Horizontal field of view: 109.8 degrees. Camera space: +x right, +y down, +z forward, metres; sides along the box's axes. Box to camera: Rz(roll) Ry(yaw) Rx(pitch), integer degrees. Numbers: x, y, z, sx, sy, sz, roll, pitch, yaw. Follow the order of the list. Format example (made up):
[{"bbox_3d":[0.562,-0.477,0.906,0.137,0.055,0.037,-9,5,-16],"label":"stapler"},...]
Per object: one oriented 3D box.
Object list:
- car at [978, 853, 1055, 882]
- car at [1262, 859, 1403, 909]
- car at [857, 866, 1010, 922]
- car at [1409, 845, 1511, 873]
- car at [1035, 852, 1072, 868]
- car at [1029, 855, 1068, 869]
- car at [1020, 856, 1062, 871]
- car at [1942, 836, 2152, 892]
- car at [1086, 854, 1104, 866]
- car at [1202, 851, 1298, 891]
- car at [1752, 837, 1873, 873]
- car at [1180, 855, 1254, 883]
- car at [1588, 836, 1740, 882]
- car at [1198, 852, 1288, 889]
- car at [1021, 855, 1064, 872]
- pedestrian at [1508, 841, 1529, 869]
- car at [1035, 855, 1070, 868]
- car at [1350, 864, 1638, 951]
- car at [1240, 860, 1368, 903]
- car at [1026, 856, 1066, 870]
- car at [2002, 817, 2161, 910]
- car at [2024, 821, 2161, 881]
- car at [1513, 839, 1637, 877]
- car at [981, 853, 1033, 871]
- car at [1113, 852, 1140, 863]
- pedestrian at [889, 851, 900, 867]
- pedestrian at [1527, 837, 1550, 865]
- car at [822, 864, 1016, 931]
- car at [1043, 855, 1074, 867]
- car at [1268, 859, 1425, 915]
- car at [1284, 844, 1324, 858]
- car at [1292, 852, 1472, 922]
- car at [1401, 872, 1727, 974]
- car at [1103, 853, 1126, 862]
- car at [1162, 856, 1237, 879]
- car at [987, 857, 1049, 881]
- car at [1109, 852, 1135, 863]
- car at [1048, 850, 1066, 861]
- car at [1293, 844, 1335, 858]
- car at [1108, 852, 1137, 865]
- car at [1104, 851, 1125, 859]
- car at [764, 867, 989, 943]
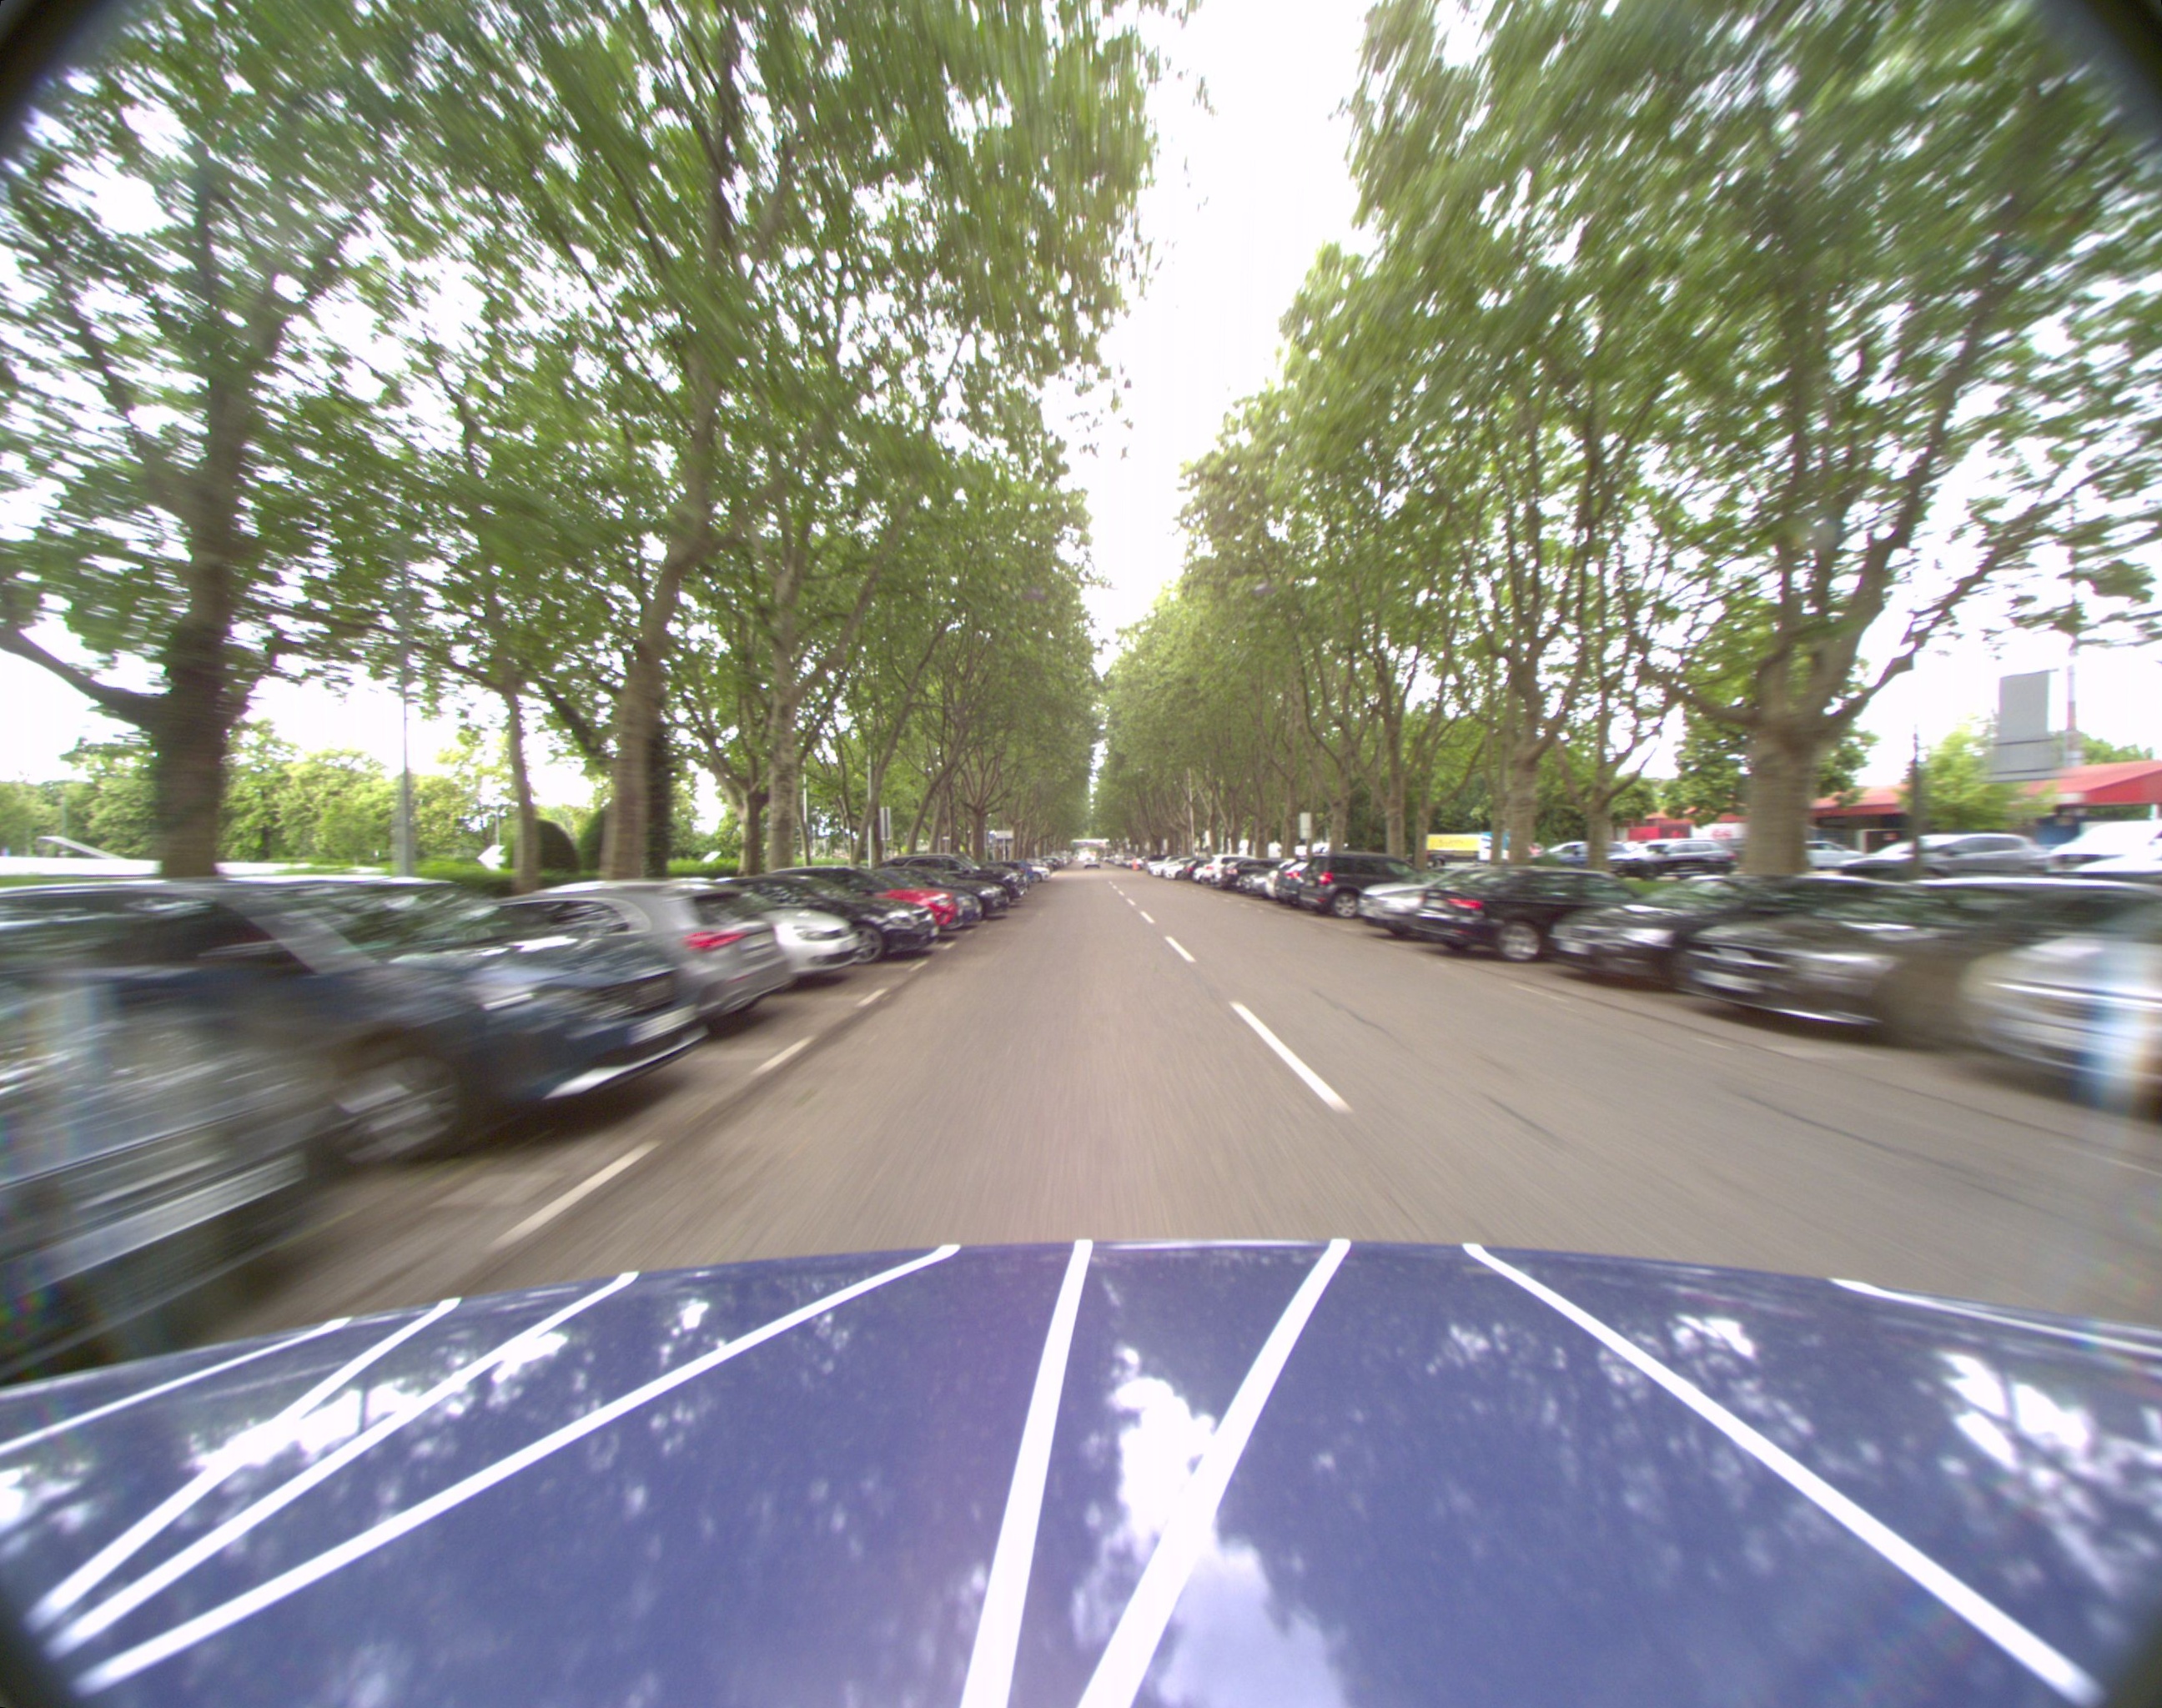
[{"bbox_3d":[-3.990,0.846,47.435,4.535,1.613,2.054,-2,0,1],"label":"car"},{"bbox_3d":[7.994,0.924,24.406,4.001,1.477,1.704,1,0,5],"label":"car"},{"bbox_3d":[-4.179,1.128,21.961,3.993,1.382,1.739,-2,0,2],"label":"car"},{"bbox_3d":[23.784,0.279,47.797,5.362,1.587,2.094,-2,1,-1],"label":"car"},{"bbox_3d":[-3.662,0.842,101.873,4.674,1.891,2.001,-3,0,5],"label":"car"},{"bbox_3d":[-4.098,1.037,96.921,4.674,1.514,2.001,-3,0,5],"label":"car"},{"bbox_3d":[-4.240,1.003,81.239,4.383,1.469,1.999,-2,1,-2],"label":"car"},{"bbox_3d":[34.592,0.317,27.311,4.955,1.786,2.182,-2,1,-2],"label":"car"},{"bbox_3d":[1.710,0.700,93.465,1.998,1.375,4.679,-3,0,0],"label":"car"},{"bbox_3d":[7.657,0.764,34.717,3.996,1.672,1.855,-2,1,1],"label":"car"},{"bbox_3d":[34.902,0.027,36.325,4.030,1.542,1.999,-2,1,-4],"label":"car"},{"bbox_3d":[7.881,0.870,44.342,3.996,1.445,1.855,-2,1,1],"label":"car"},{"bbox_3d":[23.173,0.191,30.313,4.564,1.710,1.999,1,0,-2],"label":"car"},{"bbox_3d":[7.868,0.789,37.141,3.996,1.672,1.855,-2,1,1],"label":"car"},{"bbox_3d":[-4.243,1.050,84.038,4.676,1.514,2.000,-3,0,-2],"label":"car"},{"bbox_3d":[28.644,0.065,49.774,0.819,1.790,0.918,-3,1,1],"label":"pedestrian"},{"bbox_3d":[-3.989,1.014,106.813,4.674,1.602,2.001,-3,0,5],"label":"car"},{"bbox_3d":[7.581,0.958,14.241,4.475,1.473,1.703,1,0,-1],"label":"car"},{"bbox_3d":[7.822,0.946,26.901,4.004,1.412,1.703,1,0,-1],"label":"car"},{"bbox_3d":[-4.340,1.088,94.625,4.673,1.514,2.001,-3,0,6],"label":"car"},{"bbox_3d":[23.010,0.106,15.914,4.955,1.786,2.182,-2,1,-2],"label":"car"},{"bbox_3d":[34.501,-0.133,24.767,4.955,1.786,2.182,-2,1,-2],"label":"car"},{"bbox_3d":[23.242,0.189,35.846,4.564,1.710,1.999,1,0,-2],"label":"car"},{"bbox_3d":[-6.279,0.656,64.776,4.288,1.453,1.784,0,0,-2],"label":"car"},{"bbox_3d":[7.948,0.601,131.725,4.491,1.740,2.001,-3,0,5],"label":"car"},{"bbox_3d":[-18.135,0.490,73.857,0.724,1.558,0.698,-2,1,7],"label":"pedestrian"},{"bbox_3d":[29.935,-0.201,49.736,0.944,1.790,0.918,-2,1,1],"label":"pedestrian"},{"bbox_3d":[-4.054,1.074,19.559,4.506,1.420,1.932,-2,0,1],"label":"car"},{"bbox_3d":[-3.639,1.092,123.845,4.674,1.740,2.001,-3,0,5],"label":"car"},{"bbox_3d":[7.623,0.929,22.092,3.940,1.507,1.728,1,0,2],"label":"car"},{"bbox_3d":[34.590,-0.441,118.068,5.466,2.009,2.393,-2,1,-2],"label":"car"},{"bbox_3d":[7.684,0.828,19.642,3.941,1.698,1.752,1,0,-1],"label":"car"},{"bbox_3d":[7.268,1.002,11.706,3.941,1.390,1.703,1,0,-1],"label":"car"},{"bbox_3d":[7.606,0.720,172.160,4.919,1.817,2.000,-2,-2,-3],"label":"car"},{"bbox_3d":[7.655,0.842,49.379,4.421,1.435,2.046,1,0,-5],"label":"car"},{"bbox_3d":[-4.091,0.991,49.835,3.840,1.409,1.718,-2,0,1],"label":"car"},{"bbox_3d":[8.044,0.689,149.110,4.919,1.817,2.000,-2,-2,-3],"label":"car"},{"bbox_3d":[-5.485,0.321,176.843,3.997,2.274,2.000,-2,1,1],"label":"car"},{"bbox_3d":[34.854,-0.412,113.757,5.467,2.009,2.393,1,0,-2],"label":"car"},{"bbox_3d":[6.619,0.745,122.057,4.491,1.740,2.001,-3,0,5],"label":"car"},{"bbox_3d":[8.364,0.243,190.403,4.919,1.817,2.000,-2,-2,-3],"label":"car"},{"bbox_3d":[-4.504,1.116,17.198,4.506,1.411,1.829,-2,0,2],"label":"car"}]
